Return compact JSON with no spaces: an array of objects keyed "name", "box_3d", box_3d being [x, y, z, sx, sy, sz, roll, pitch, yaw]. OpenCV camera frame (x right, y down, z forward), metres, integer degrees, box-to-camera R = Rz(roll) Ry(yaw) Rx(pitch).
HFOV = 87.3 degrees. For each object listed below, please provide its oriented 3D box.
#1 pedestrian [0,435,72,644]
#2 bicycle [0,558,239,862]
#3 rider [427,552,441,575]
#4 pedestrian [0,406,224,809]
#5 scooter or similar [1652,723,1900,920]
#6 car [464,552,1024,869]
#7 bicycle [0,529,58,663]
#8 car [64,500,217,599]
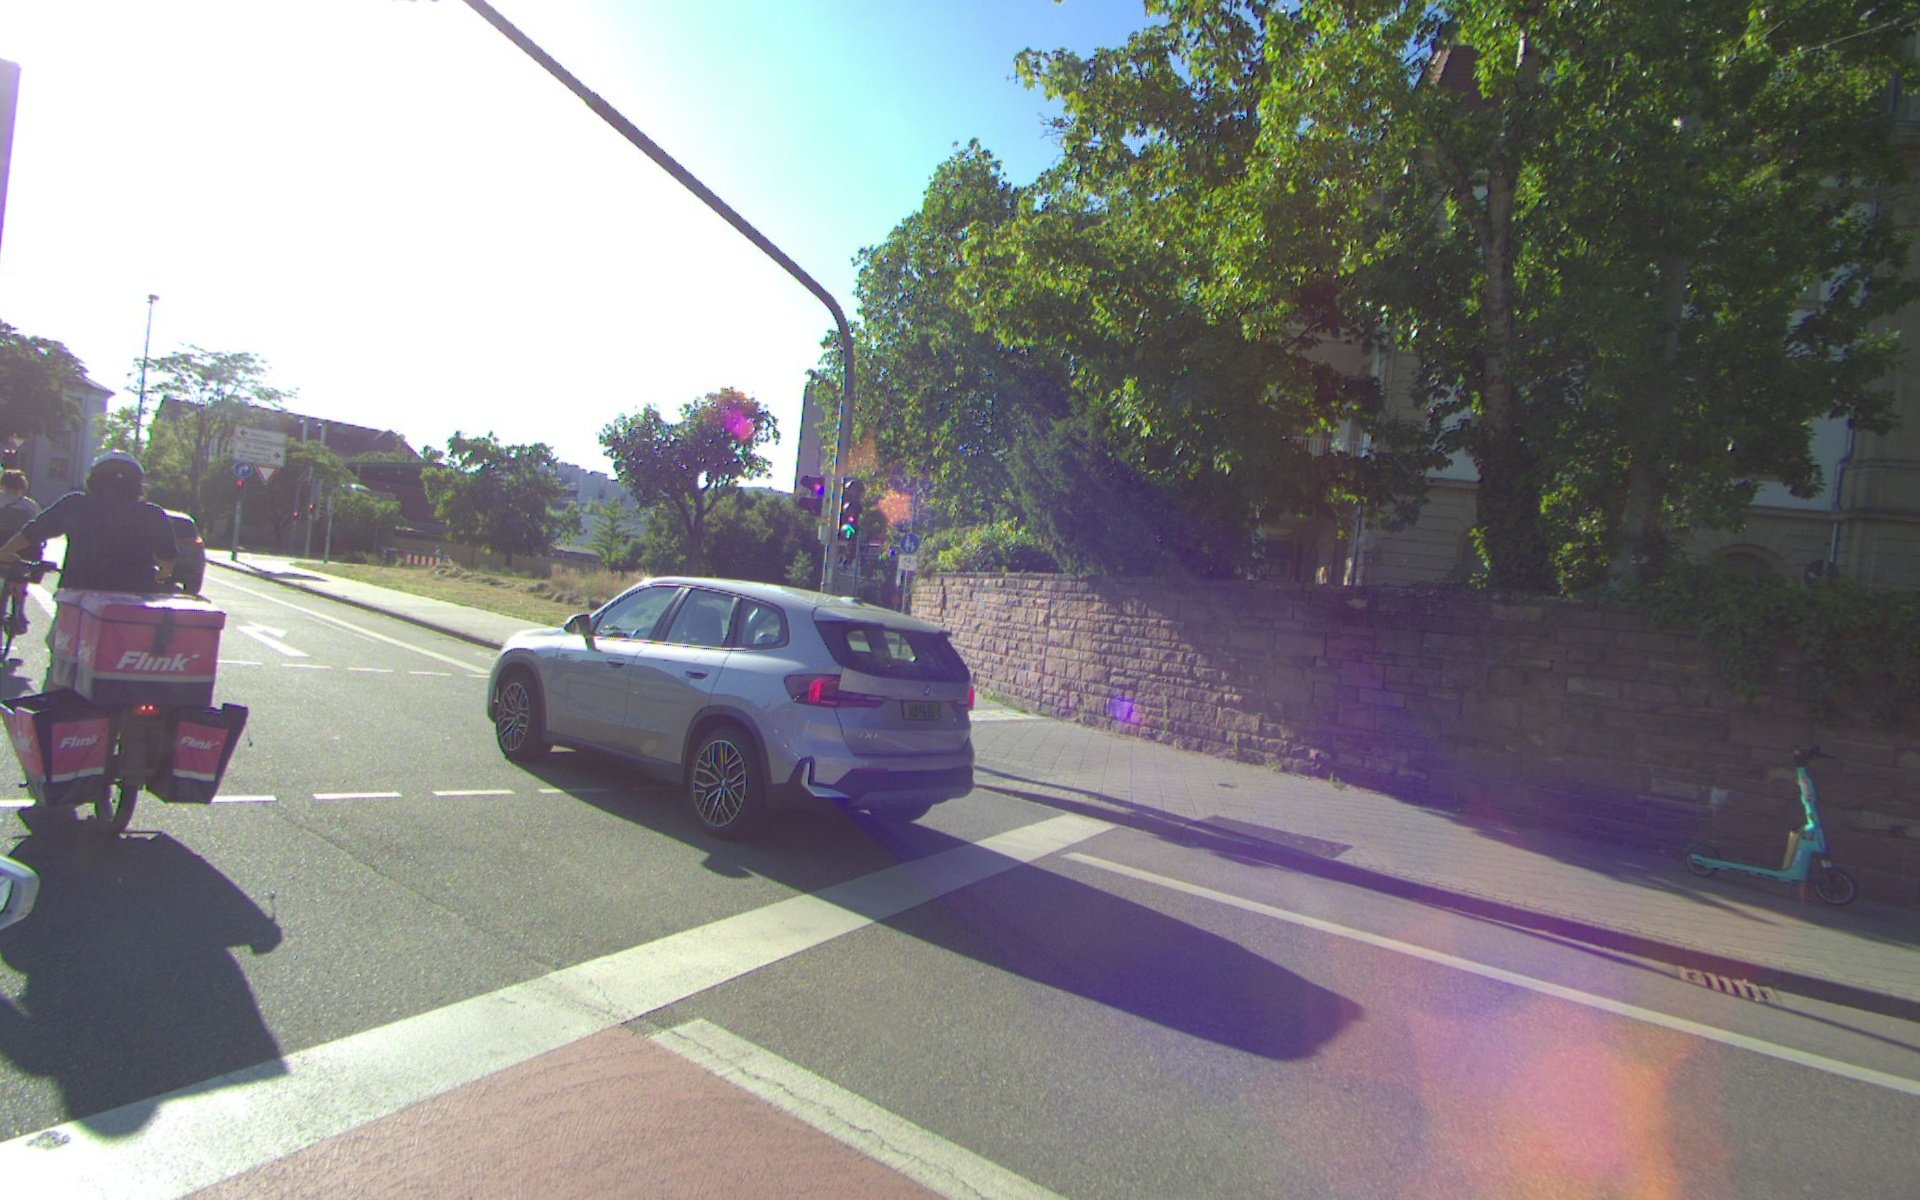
[{"name":"pedestrian","box_3d":[-9.134,-0.584,9.657,0.861,1.890,0.658,5,-2,43]},{"name":"bicycle","box_3d":[-4.451,0.455,5.159,2.339,1.184,0.554,5,-2,40]},{"name":"rider","box_3d":[-40.157,-2.781,76.837,0.747,1.617,0.584,8,-2,-34]},{"name":"pedestrian","box_3d":[-4.602,0.049,5.288,0.943,1.890,0.806,5,-2,40]},{"name":"scooter or similar","box_3d":[6.726,1.775,8.352,0.571,1.285,1.409,6,0,-38]},{"name":"car","box_3d":[-1.830,0.651,7.674,4.267,1.612,1.786,5,-3,40]},{"name":"bicycle","box_3d":[-9.177,-0.096,9.604,1.924,1.164,0.563,5,-2,43]},{"name":"car","box_3d":[-17.632,-1.098,21.572,4.310,1.708,1.829,5,-3,43]}]
